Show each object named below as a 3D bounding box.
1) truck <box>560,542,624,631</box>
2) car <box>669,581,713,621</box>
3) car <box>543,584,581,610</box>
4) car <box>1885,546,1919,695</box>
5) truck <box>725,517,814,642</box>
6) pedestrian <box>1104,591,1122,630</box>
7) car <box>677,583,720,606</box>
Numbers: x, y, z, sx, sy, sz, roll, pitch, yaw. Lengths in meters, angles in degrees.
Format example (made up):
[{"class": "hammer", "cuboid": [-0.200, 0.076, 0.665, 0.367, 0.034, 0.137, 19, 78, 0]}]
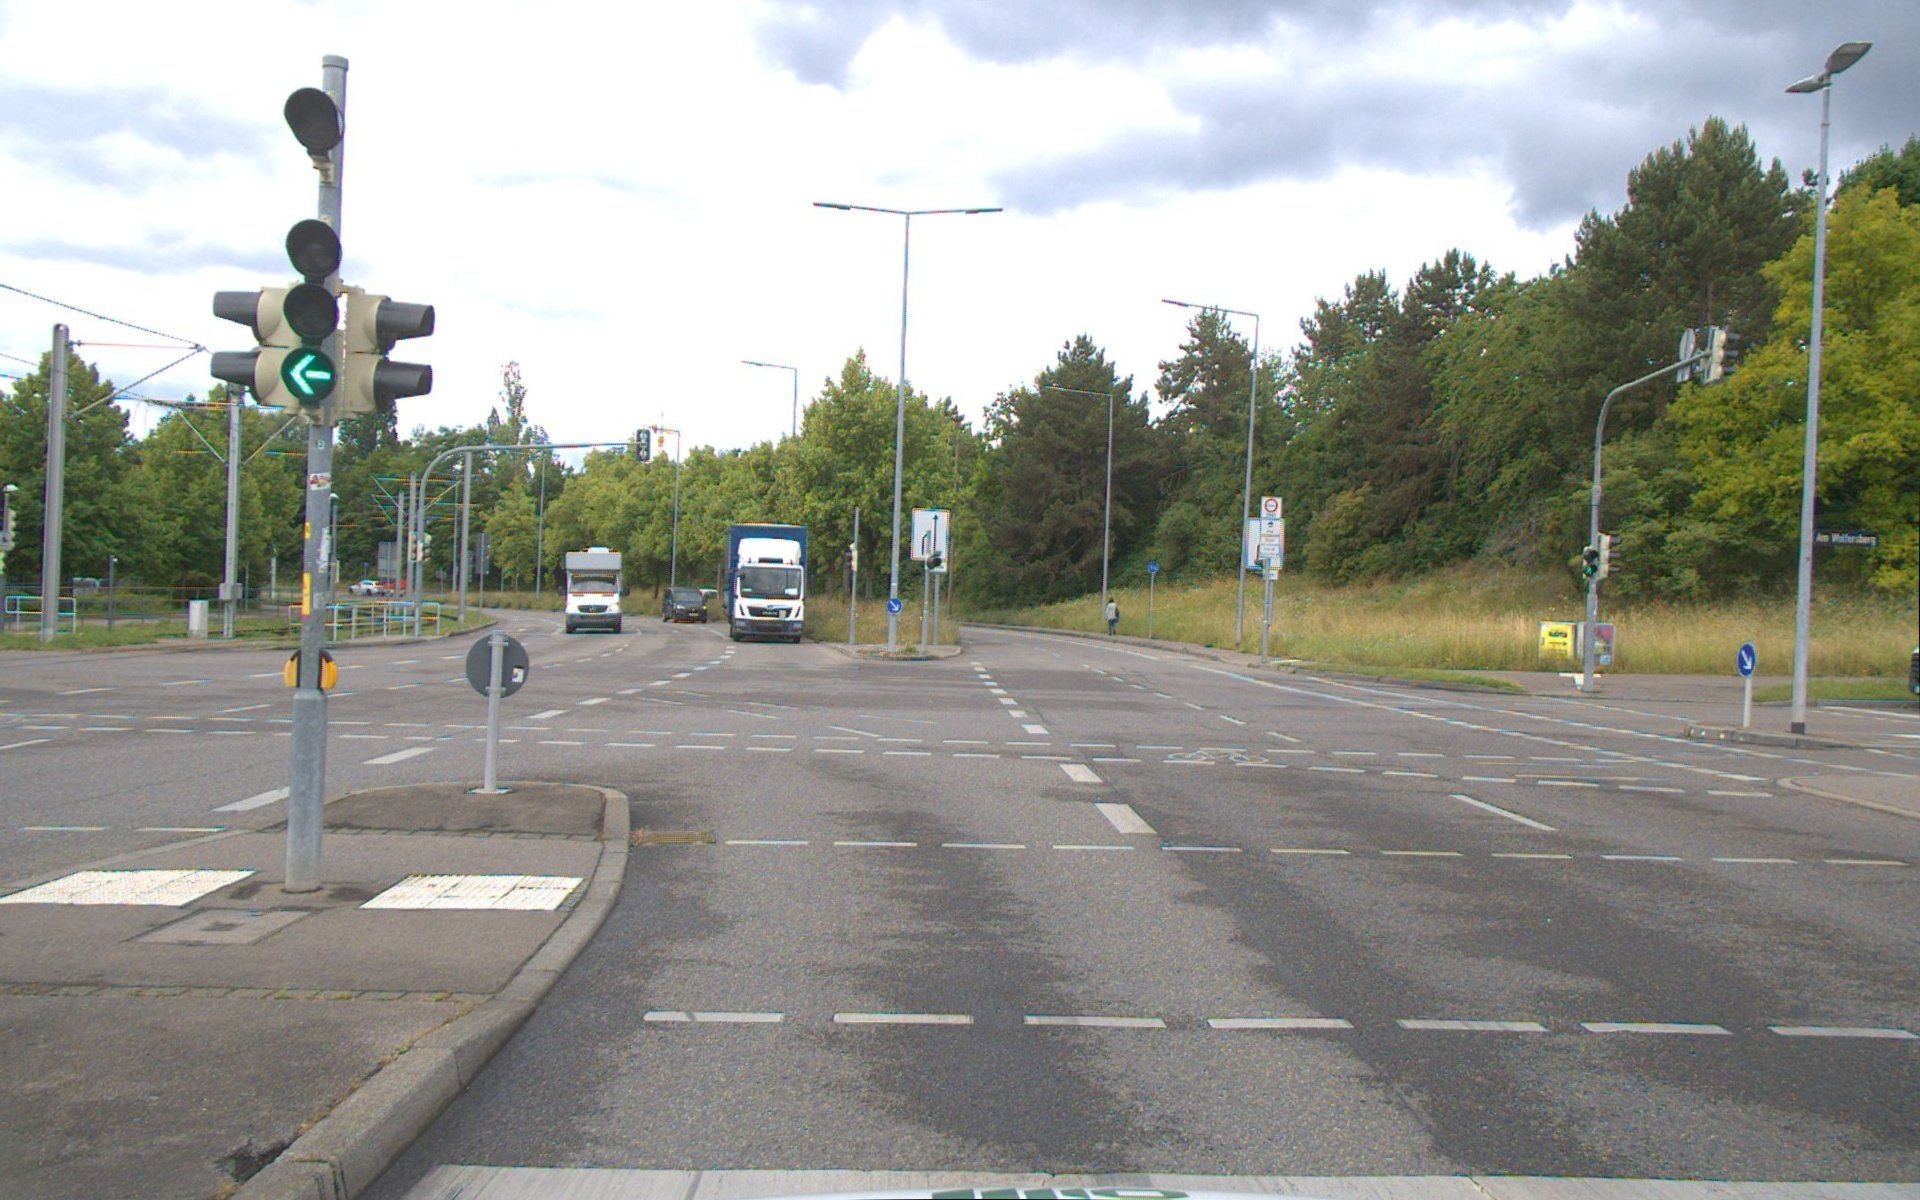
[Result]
[{"class": "truck", "cuboid": [-13.686, -0.482, 61.637, 2.068, 3.063, 6.254, -2, 1, -12]}, {"class": "car", "cuboid": [-14.244, 0.026, 87.380, 1.960, 2.049, 4.592, 1, 0, -14]}, {"class": "car", "cuboid": [-28.167, -0.233, 117.051, 1.967, 1.814, 3.971, 1, 0, -23]}, {"class": "car", "cuboid": [20.357, 0.414, 30.071, 5.818, 2.705, 2.228, 1, -1, 1]}, {"class": "truck", "cuboid": [-6.558, -0.668, 56.312, 2.726, 3.871, 8.374, 1, 0, -8]}, {"class": "pedestrian", "cuboid": [6.829, 0.474, 73.944, 0.724, 1.747, 0.625, 1, 0, -1]}, {"class": "car", "cuboid": [-20.298, -0.430, 128.409, 1.975, 1.758, 3.685, 1, 0, -33]}]
